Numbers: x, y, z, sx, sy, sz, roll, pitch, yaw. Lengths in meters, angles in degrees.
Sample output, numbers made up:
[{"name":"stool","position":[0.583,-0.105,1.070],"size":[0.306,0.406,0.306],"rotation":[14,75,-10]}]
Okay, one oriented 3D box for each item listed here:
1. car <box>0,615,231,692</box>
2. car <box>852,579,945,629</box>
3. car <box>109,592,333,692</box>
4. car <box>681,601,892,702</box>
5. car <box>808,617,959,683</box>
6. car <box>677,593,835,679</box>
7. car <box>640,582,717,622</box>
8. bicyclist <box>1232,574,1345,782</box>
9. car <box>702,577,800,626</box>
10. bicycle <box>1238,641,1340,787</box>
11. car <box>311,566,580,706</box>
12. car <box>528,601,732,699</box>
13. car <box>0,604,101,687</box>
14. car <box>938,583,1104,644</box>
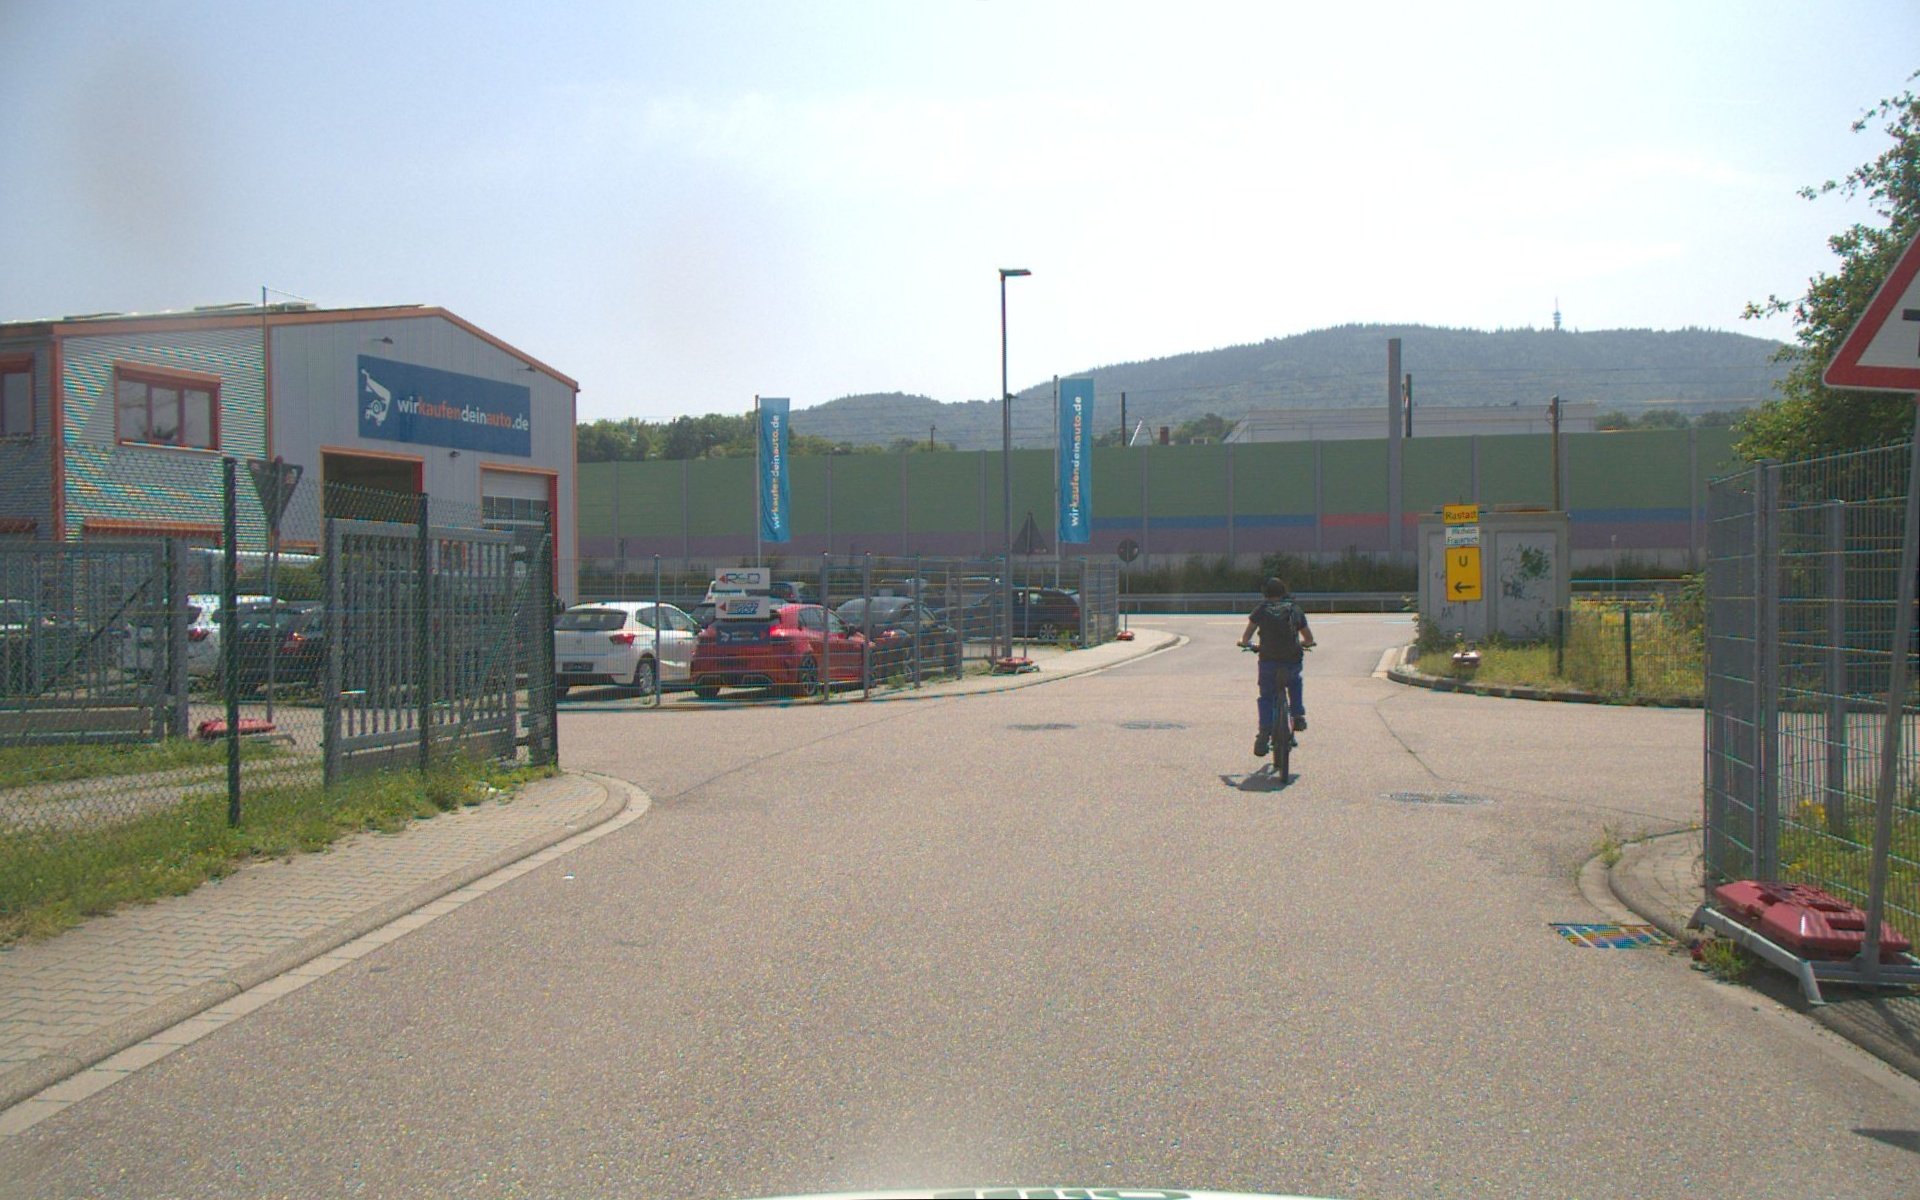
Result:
[{"name":"car","position":[-14.508,0.878,28.574],"size":[1.471,1.171,3.605],"rotation":[-1,1,17]},{"name":"car","position":[-1.998,0.105,54.980],"size":[1.951,1.609,4.003],"rotation":[-1,1,16]},{"name":"car","position":[-12.565,0.670,28.347],"size":[1.471,1.566,3.605],"rotation":[-1,0,17]},{"name":"car","position":[-2.636,0.751,26.135],"size":[1.830,1.411,4.116],"rotation":[-1,1,17]},{"name":"car","position":[-1.339,0.884,30.538],"size":[1.452,1.024,4.116],"rotation":[-1,1,17]},{"name":"car","position":[-3.750,0.632,31.100],"size":[1.452,1.480,3.896],"rotation":[-1,1,17]},{"name":"car","position":[-12.379,0.055,72.971],"size":[1.663,1.686,4.002],"rotation":[0,1,19]},{"name":"bicyclist","position":[2.697,0.618,13.661],"size":[0.824,1.647,1.040],"rotation":[0,-1,6]},{"name":"car","position":[-7.240,0.027,57.694],"size":[1.951,1.609,4.003],"rotation":[-1,1,16]},{"name":"bicycle","position":[2.697,0.902,13.711],"size":[0.670,1.070,1.902],"rotation":[-1,0,7]},{"name":"car","position":[-8.181,0.506,26.796],"size":[1.909,2.066,4.520],"rotation":[-1,0,17]},{"name":"car","position":[-5.252,0.758,26.759],"size":[1.709,1.429,3.605],"rotation":[-1,1,17]},{"name":"car","position":[-17.138,0.806,29.087],"size":[1.471,1.405,3.605],"rotation":[-1,1,17]},{"name":"car","position":[1.600,0.350,43.238],"size":[3.905,1.519,2.000],"rotation":[0,1,22]}]
